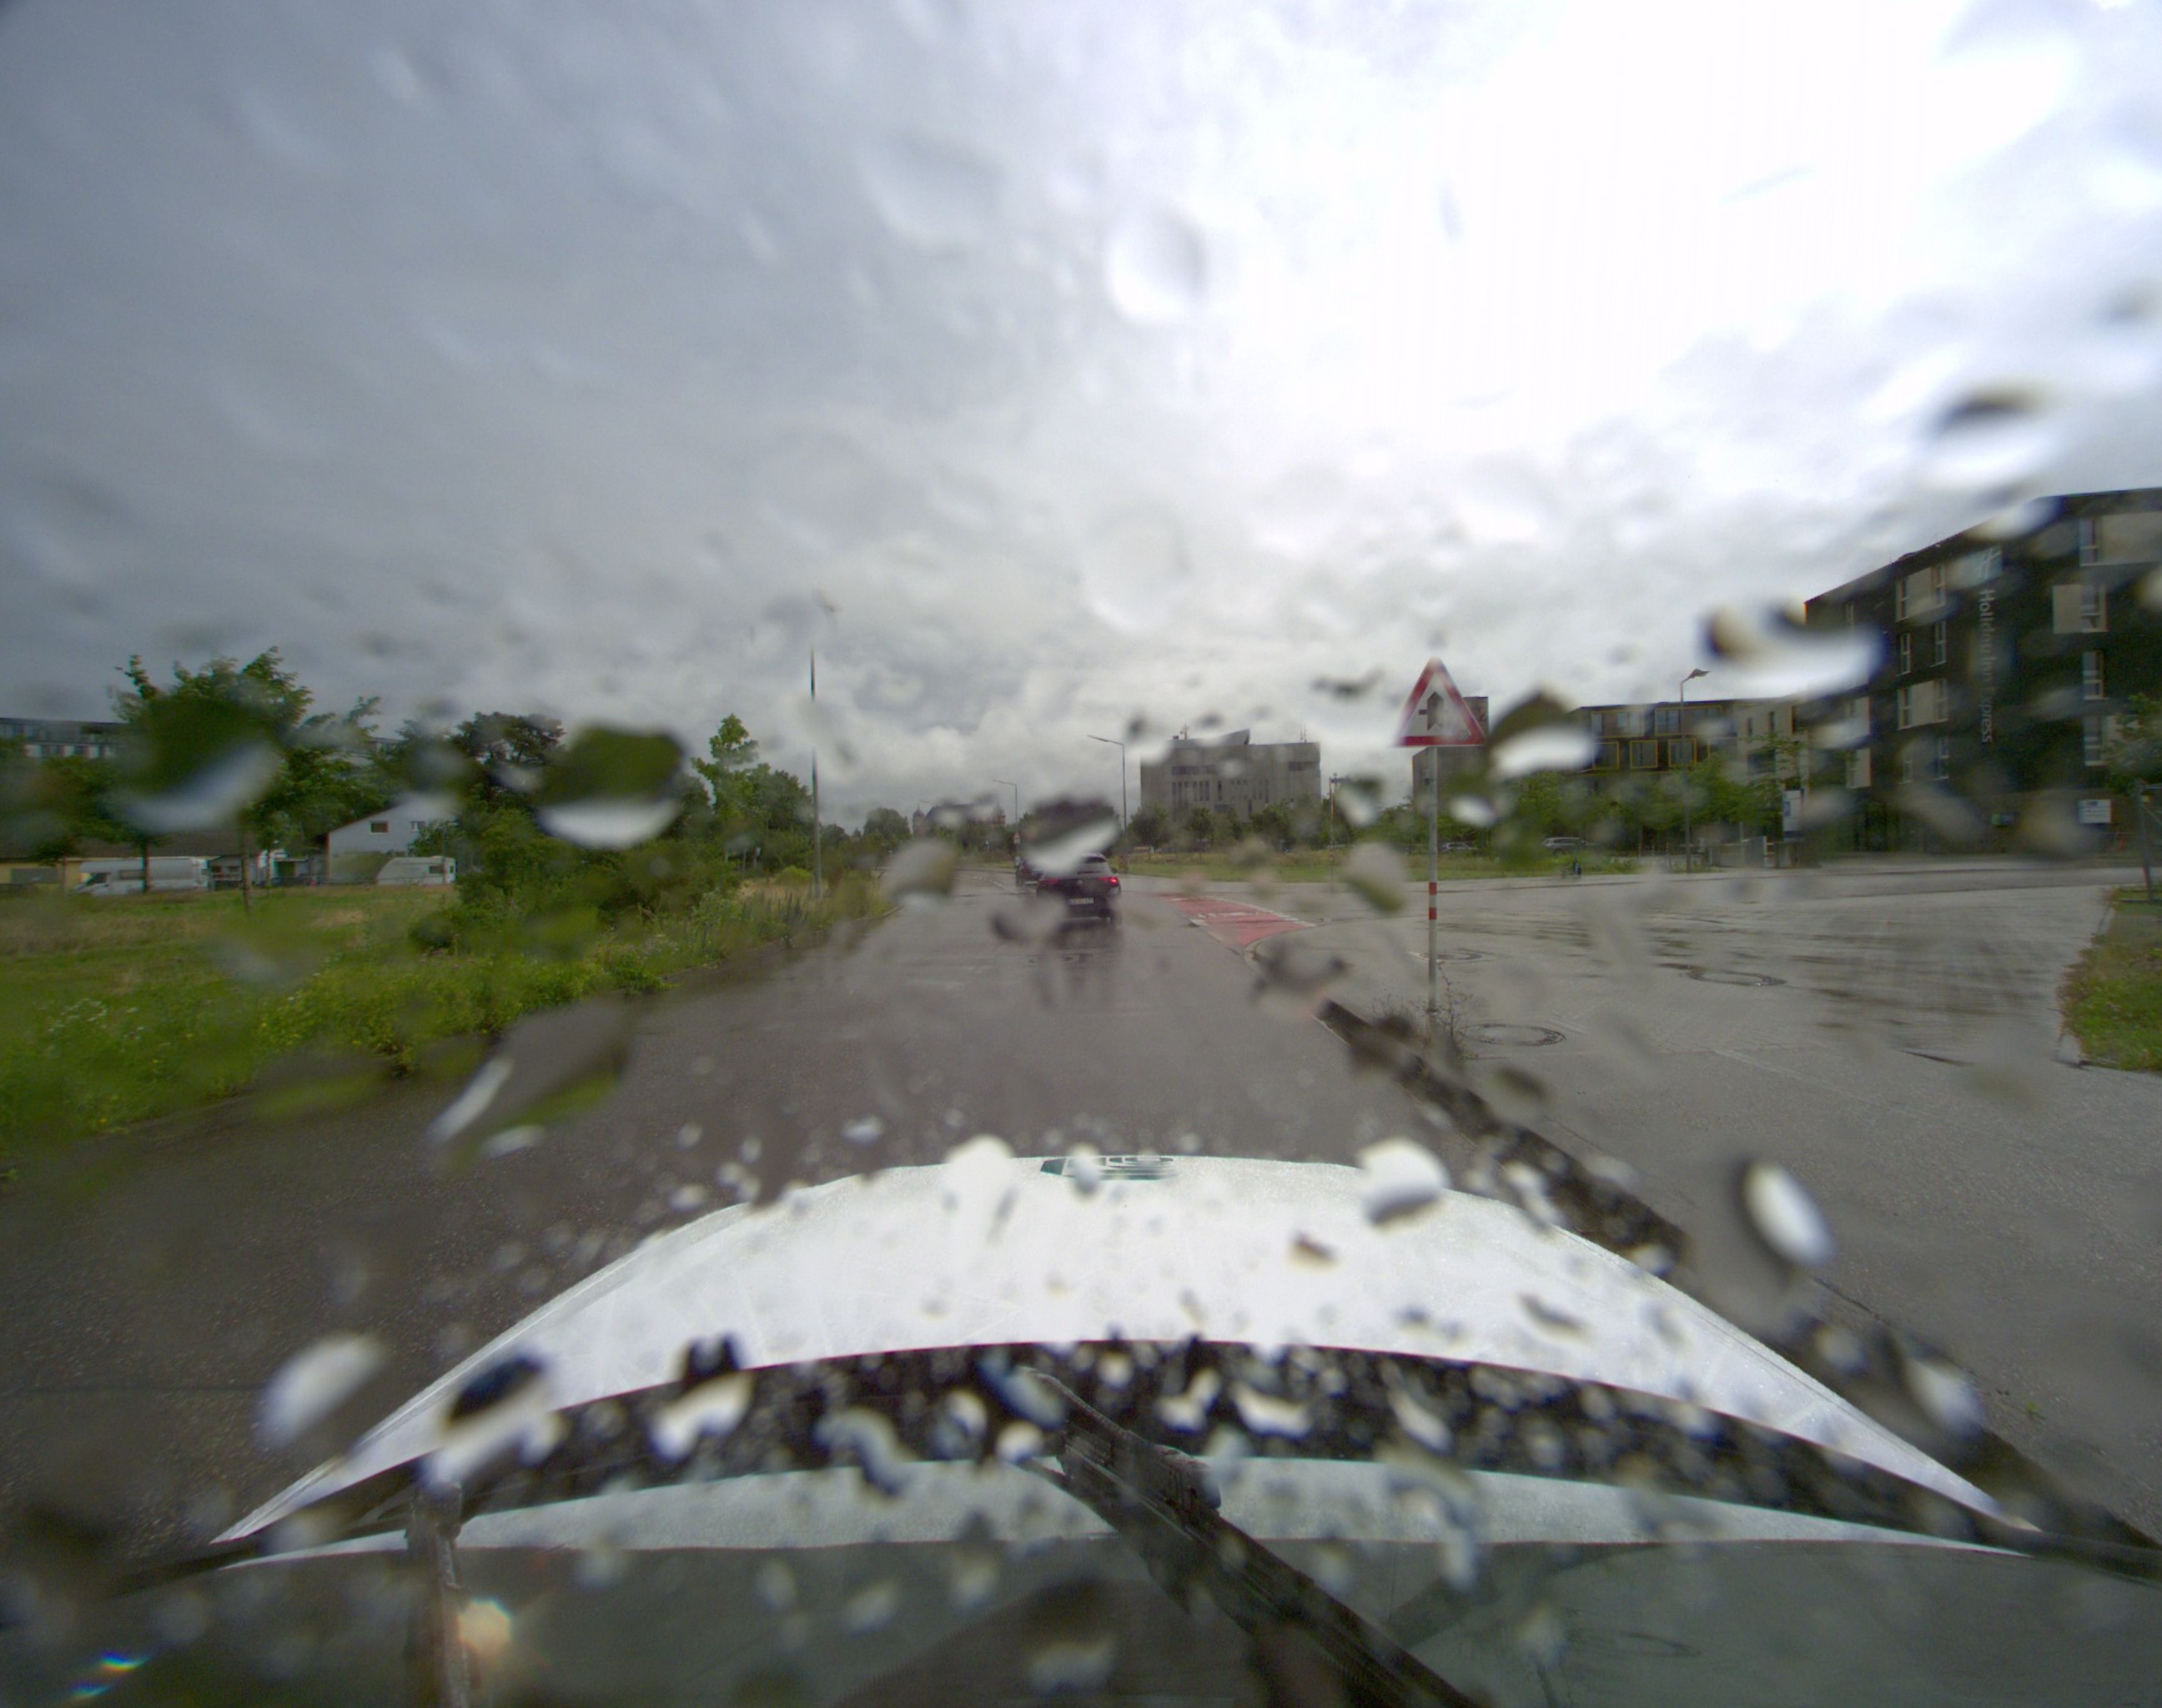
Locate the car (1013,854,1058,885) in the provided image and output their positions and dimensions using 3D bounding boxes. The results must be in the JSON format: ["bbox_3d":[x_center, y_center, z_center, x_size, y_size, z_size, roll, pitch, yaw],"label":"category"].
[{"bbox_3d":[-2.490,0.779,43.268,1.842,1.442,3.986,-4,0,-10],"label":"car"}]

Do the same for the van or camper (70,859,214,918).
[{"bbox_3d":[-64.588,2.313,56.207,5.865,3.744,2.630,-2,0,-28],"label":"van or camper"}]

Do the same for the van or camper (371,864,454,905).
[{"bbox_3d":[-51.912,2.332,63.397,4.526,2.945,2.461,-2,0,-28],"label":"van or camper"}]

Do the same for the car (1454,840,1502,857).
[{"bbox_3d":[44.498,-0.630,91.425,4.509,1.762,2.008,-2,0,14],"label":"car"}]

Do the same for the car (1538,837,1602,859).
[{"bbox_3d":[40.042,-0.463,66.758,4.174,1.557,1.673,-3,0,14],"label":"car"}]

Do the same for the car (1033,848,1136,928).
[{"bbox_3d":[-0.033,0.661,18.104,1.983,1.520,3.995,-2,0,-3],"label":"car"}]

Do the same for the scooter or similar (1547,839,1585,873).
[{"bbox_3d":[17.978,0.052,30.173,1.284,1.187,0.500,-3,2,-19],"label":"scooter or similar"}]

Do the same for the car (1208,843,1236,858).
[{"bbox_3d":[21.456,-0.528,123.902,3.665,2.014,2.011,-2,-1,21],"label":"car"}]

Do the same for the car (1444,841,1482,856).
[{"bbox_3d":[47.552,-0.682,101.389,3.957,1.720,1.776,-1,0,15],"label":"car"}]
